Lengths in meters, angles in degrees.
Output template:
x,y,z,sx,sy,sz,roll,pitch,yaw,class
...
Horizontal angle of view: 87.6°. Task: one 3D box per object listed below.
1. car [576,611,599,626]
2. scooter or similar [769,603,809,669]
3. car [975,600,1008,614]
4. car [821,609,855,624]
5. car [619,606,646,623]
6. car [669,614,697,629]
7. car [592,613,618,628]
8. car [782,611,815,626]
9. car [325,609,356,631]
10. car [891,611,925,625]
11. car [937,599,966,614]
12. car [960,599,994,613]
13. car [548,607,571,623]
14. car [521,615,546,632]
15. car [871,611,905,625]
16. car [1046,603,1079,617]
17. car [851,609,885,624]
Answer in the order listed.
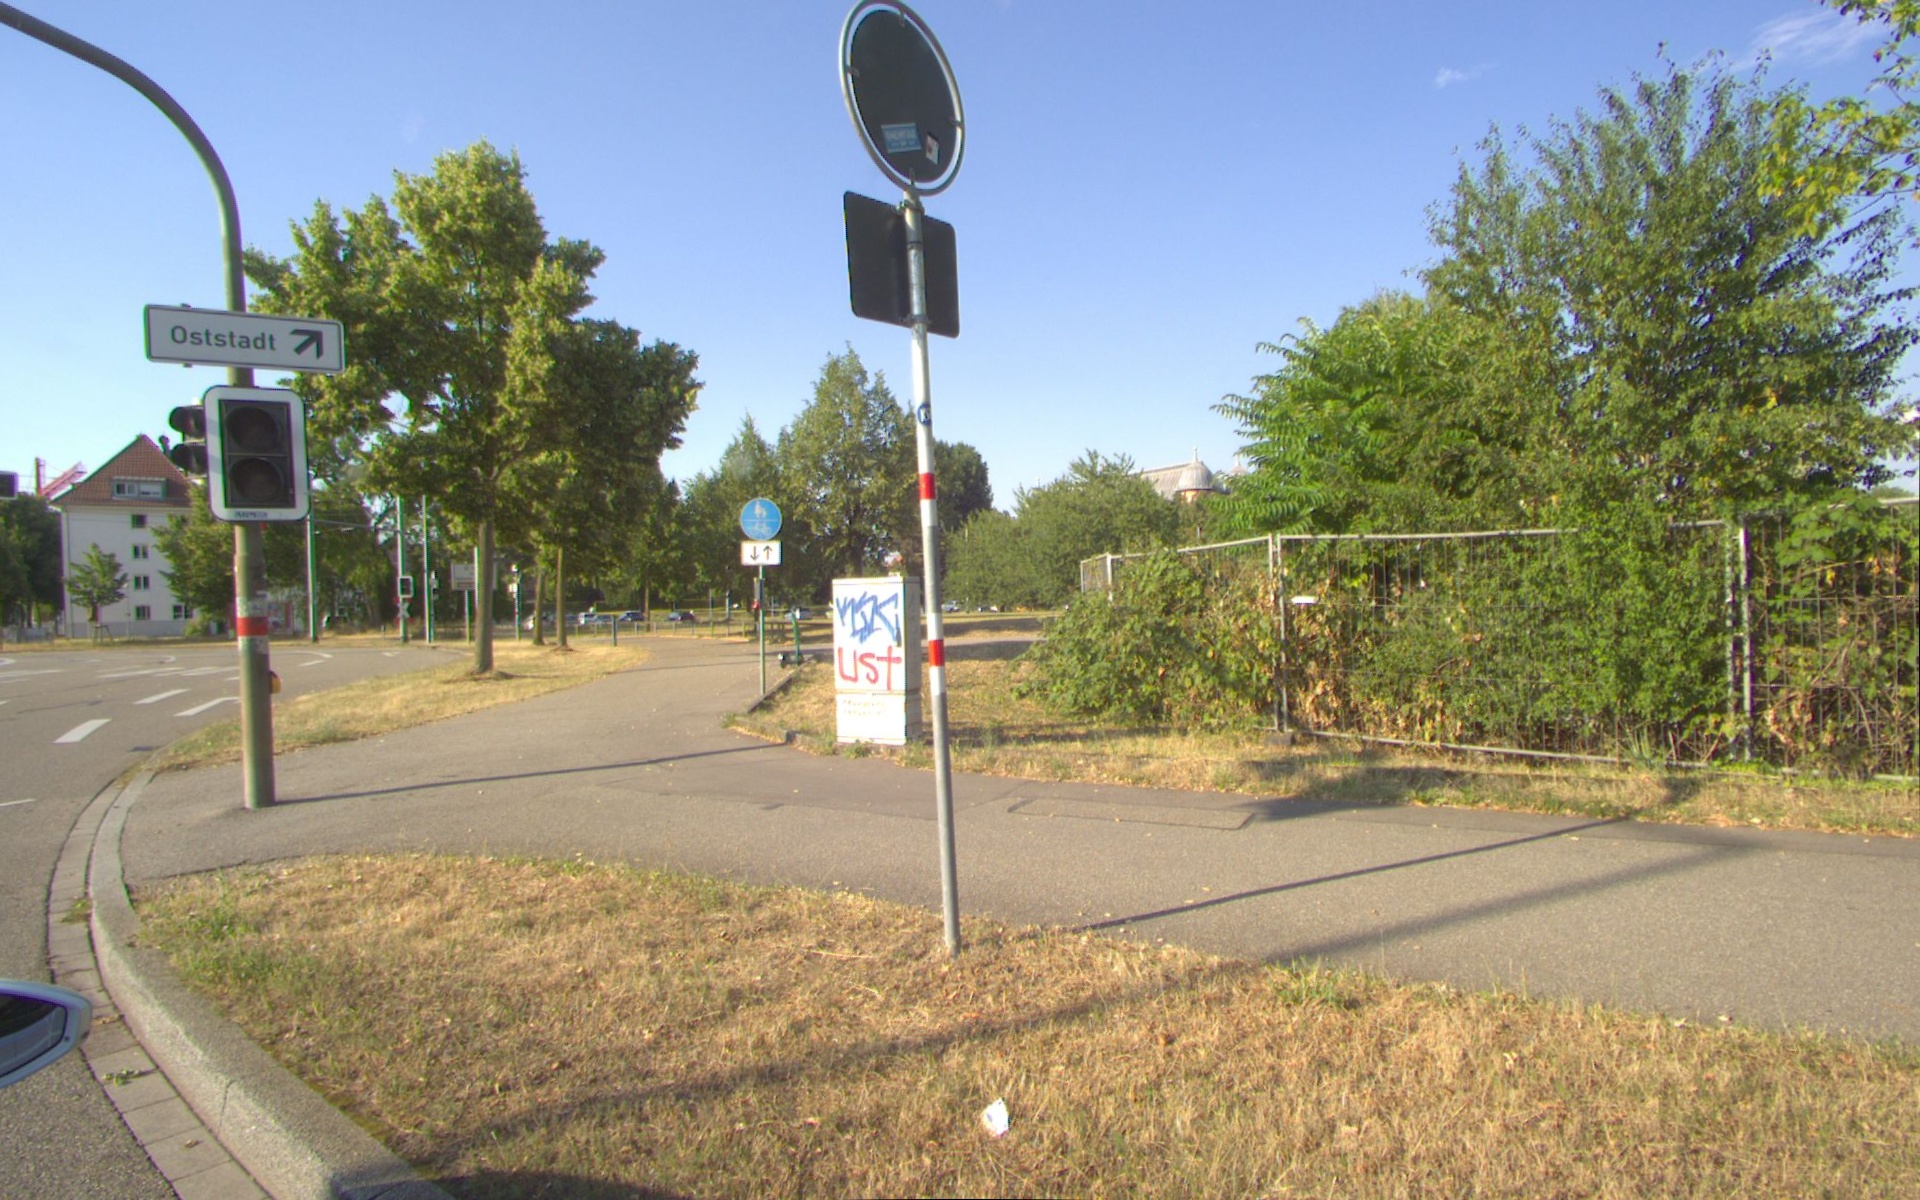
x,y,z,sx,sy,sz,roll,pitch,yaw,class
-37.111,1.840,99.638,1.583,1.420,3.950,-1,-1,-29,car
-3.287,0.669,19.287,0.336,1.175,1.169,-4,2,8,scooter or similar
3.506,0.806,113.001,1.803,1.421,3.976,-1,-1,-33,car
-12.555,1.722,102.955,1.803,1.421,3.976,-1,-1,-33,car
-29.599,1.321,90.327,1.583,1.420,3.950,-1,-1,-29,car
-25.701,2.008,92.787,1.583,1.327,3.950,-1,-1,-29,car
-31.930,1.856,89.946,1.583,1.237,3.950,-1,-1,-29,car
-16.151,1.832,99.999,1.803,1.421,3.976,-1,-1,-33,car
-48.170,1.576,77.912,1.751,1.639,3.950,-1,0,-29,car
-5.547,1.968,106.759,1.803,1.421,3.976,-1,-1,-33,car
-1.063,0.819,123.533,1.803,1.694,3.976,-1,0,-33,car
1.865,0.690,111.474,1.803,1.421,3.976,-1,-1,-33,car
-39.196,1.475,98.013,1.583,1.420,3.950,-1,-1,-29,car
-36.801,2.012,86.408,1.583,1.420,3.950,-1,-1,-29,car
-7.603,1.905,105.396,1.803,1.421,3.976,-1,-1,-33,car
12.139,1.188,118.613,1.803,1.589,3.976,-1,0,-33,car
-9.584,1.741,104.210,1.803,1.421,3.976,-2,0,-33,car
